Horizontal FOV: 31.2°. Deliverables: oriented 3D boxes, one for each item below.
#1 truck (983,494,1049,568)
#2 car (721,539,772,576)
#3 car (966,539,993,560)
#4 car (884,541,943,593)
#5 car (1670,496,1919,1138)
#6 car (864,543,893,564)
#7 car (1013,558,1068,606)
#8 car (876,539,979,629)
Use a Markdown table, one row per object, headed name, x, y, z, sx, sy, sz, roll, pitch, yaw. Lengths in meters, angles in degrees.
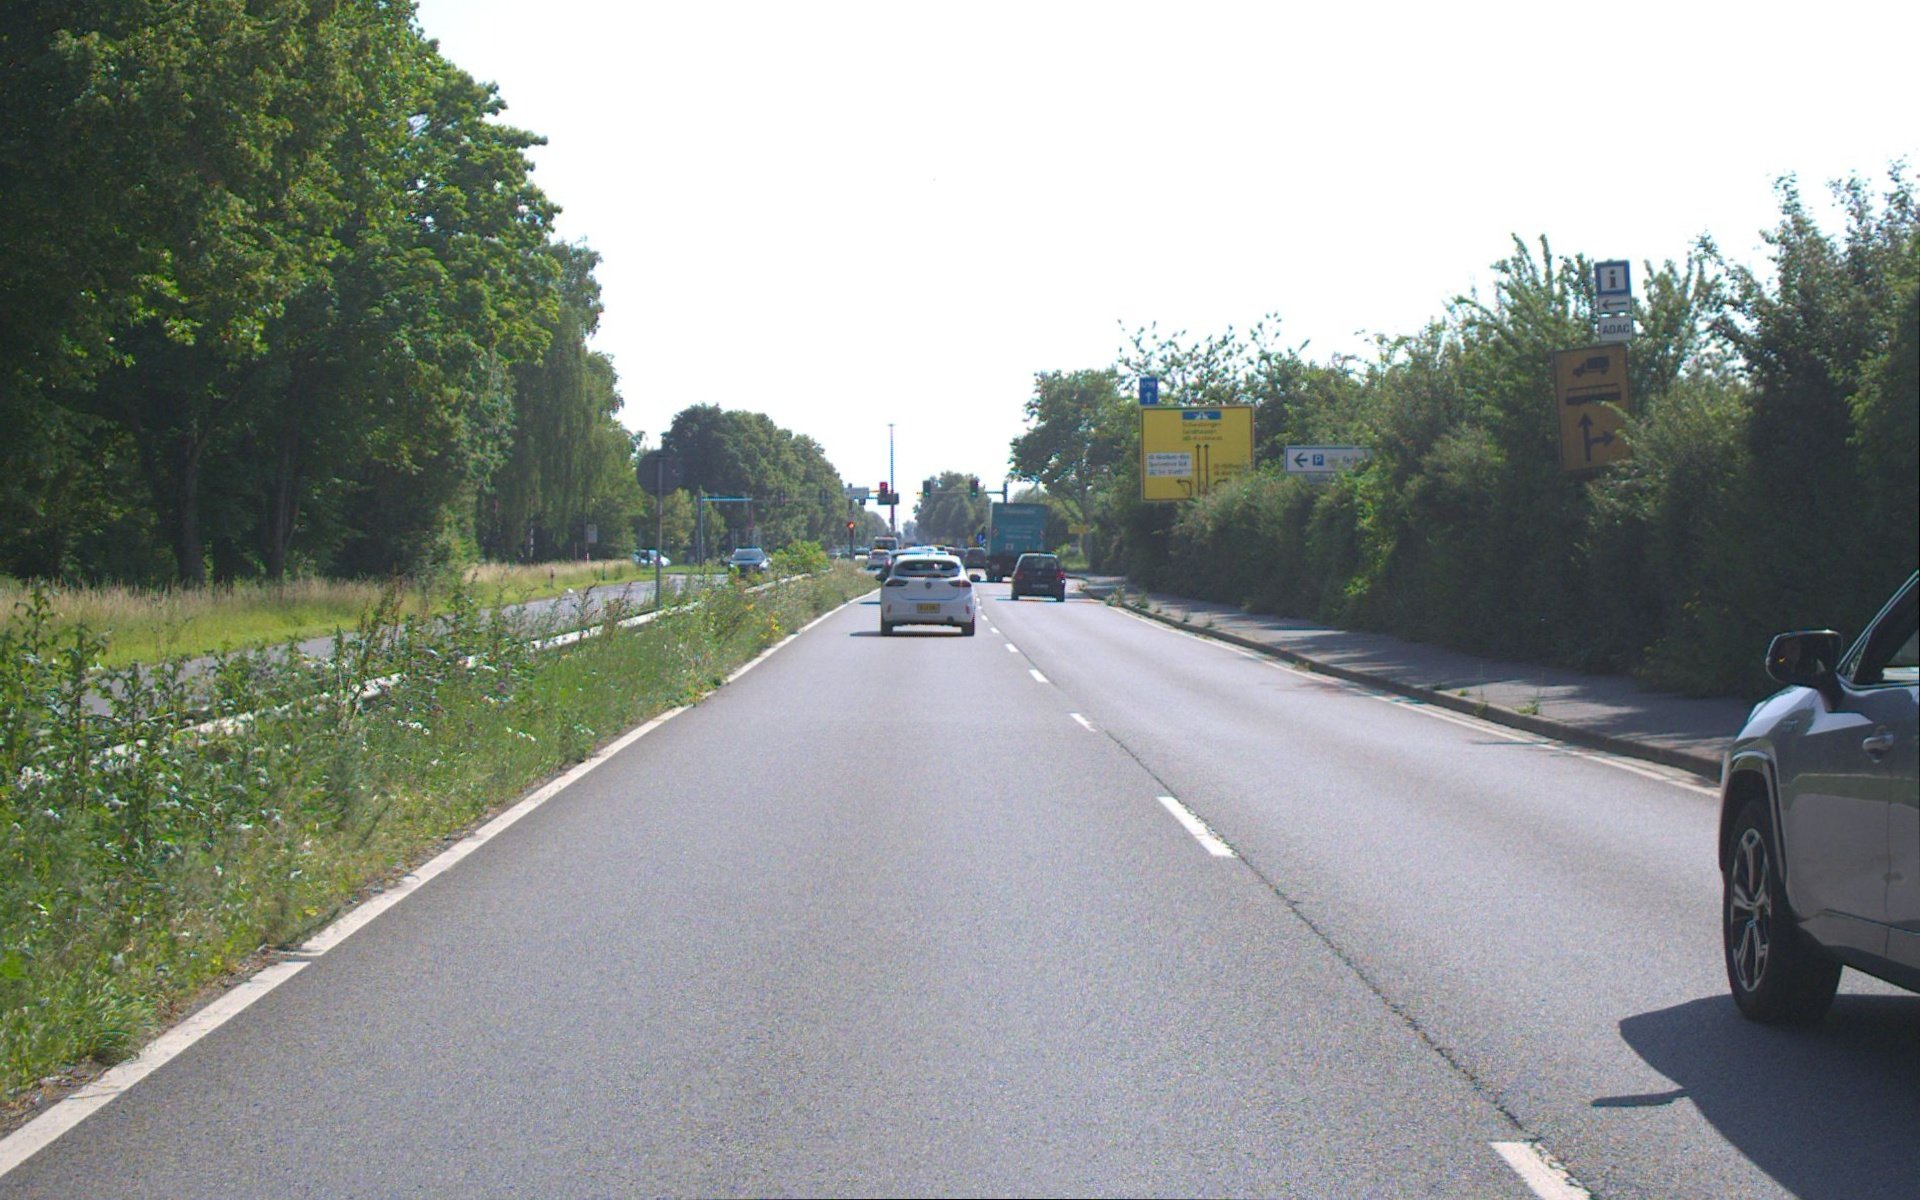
| name | x | y | z | sx | sy | sz | roll | pitch | yaw |
| --- | --- | --- | --- | --- | --- | --- | --- | --- | --- |
| truck | 2.624 | -3.283 | 164.129 | 2.891 | 3.417 | 9.169 | 0 | 1 | 0 |
| car | -9.239 | -1.837 | 149.118 | 1.779 | 1.525 | 4.161 | -1 | 1 | 2 |
| car | 1.434 | -3.711 | 251.689 | 1.812 | 1.459 | 4.459 | -1 | 0 | 2 |
| car | -1.275 | -0.908 | 94.912 | 1.572 | 1.409 | 3.277 | 1 | 1 | 0 |
| car | 3.463 | 0.578 | 9.597 | 1.902 | 1.674 | 4.684 | 1 | 1 | -1 |
| car | -5.787 | -3.313 | 245.120 | 1.812 | 1.459 | 4.971 | -1 | 0 | 1 |
| car | 2.451 | -0.550 | 104.920 | 1.572 | 1.410 | 3.277 | 0 | 0 | 0 |
| car | -0.566 | -0.319 | 62.637 | 1.799 | 1.547 | 4.000 | 1 | 1 | 0 |
